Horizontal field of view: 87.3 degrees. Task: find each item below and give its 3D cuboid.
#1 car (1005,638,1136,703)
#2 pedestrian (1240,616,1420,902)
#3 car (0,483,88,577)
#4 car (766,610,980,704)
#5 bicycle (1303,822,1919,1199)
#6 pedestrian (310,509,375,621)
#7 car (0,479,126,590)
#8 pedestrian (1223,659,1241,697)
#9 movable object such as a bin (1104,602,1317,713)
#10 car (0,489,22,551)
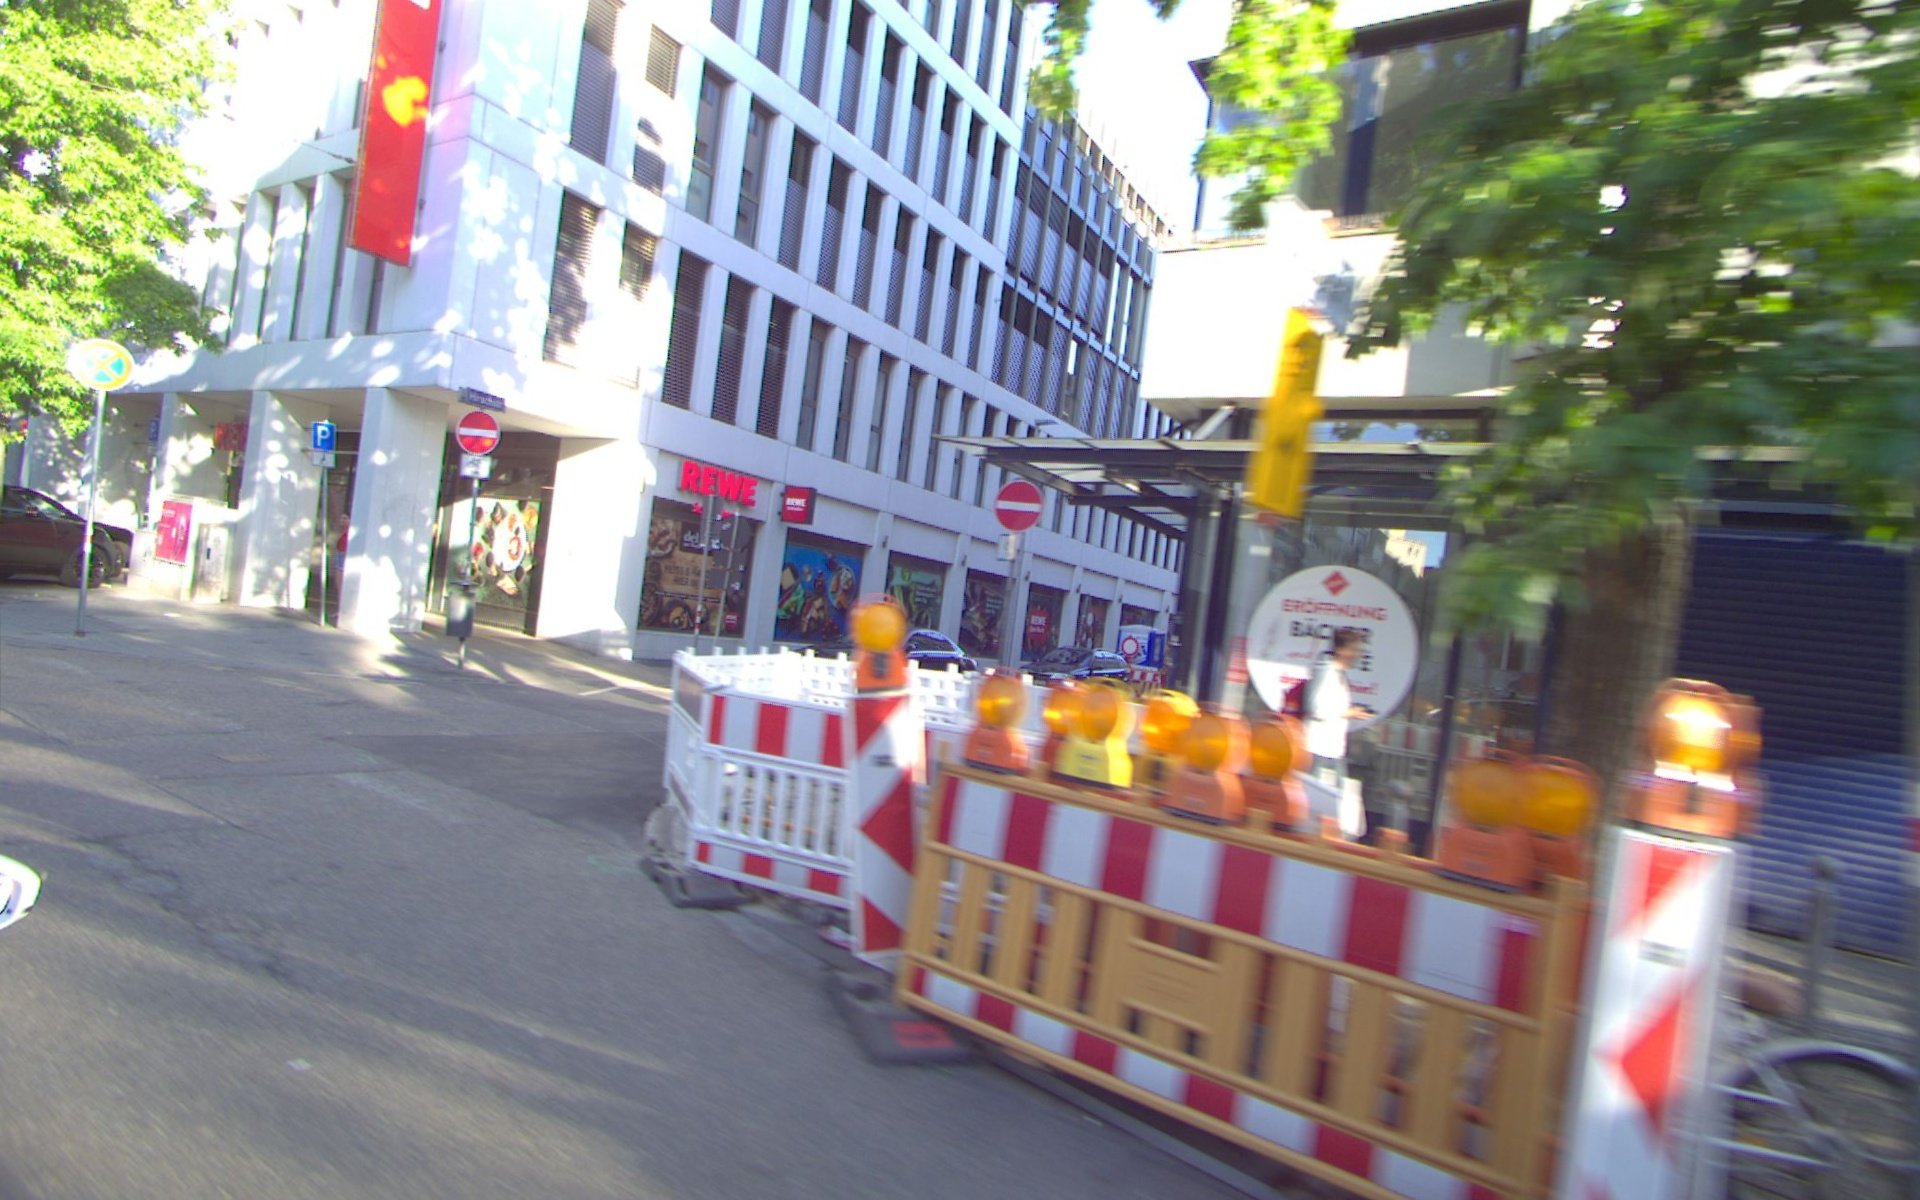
[{"bbox_3d":[3.033,1.918,26.760,1.767,1.434,4.324,5,-3,30],"label":"car"},{"bbox_3d":[2.813,1.149,7.634,0.903,1.921,0.834,7,1,35],"label":"pedestrian"},{"bbox_3d":[-18.738,-1.420,17.866,1.970,1.676,4.667,7,1,9],"label":"car"},{"bbox_3d":[-1.500,1.139,19.048,1.767,1.434,4.324,5,-3,30],"label":"car"},{"bbox_3d":[2.180,1.431,3.210,1.898,0.993,0.494,7,0,31],"label":"bicycle"},{"bbox_3d":[-10.671,-0.598,17.423,0.746,1.842,0.798,5,1,-25],"label":"pedestrian"},{"bbox_3d":[-16.331,-1.149,16.002,1.957,1.786,4.665,6,1,3],"label":"car"},{"bbox_3d":[13.204,3.779,48.791,0.485,1.755,0.639,7,0,33],"label":"pedestrian"},{"bbox_3d":[9.035,2.128,35.662,8.149,2.944,2.795,9,-1,-39],"label":"movable object such as a bin"},{"bbox_3d":[-24.297,-2.001,22.545,1.941,1.488,5.055,6,1,-3],"label":"car"}]
